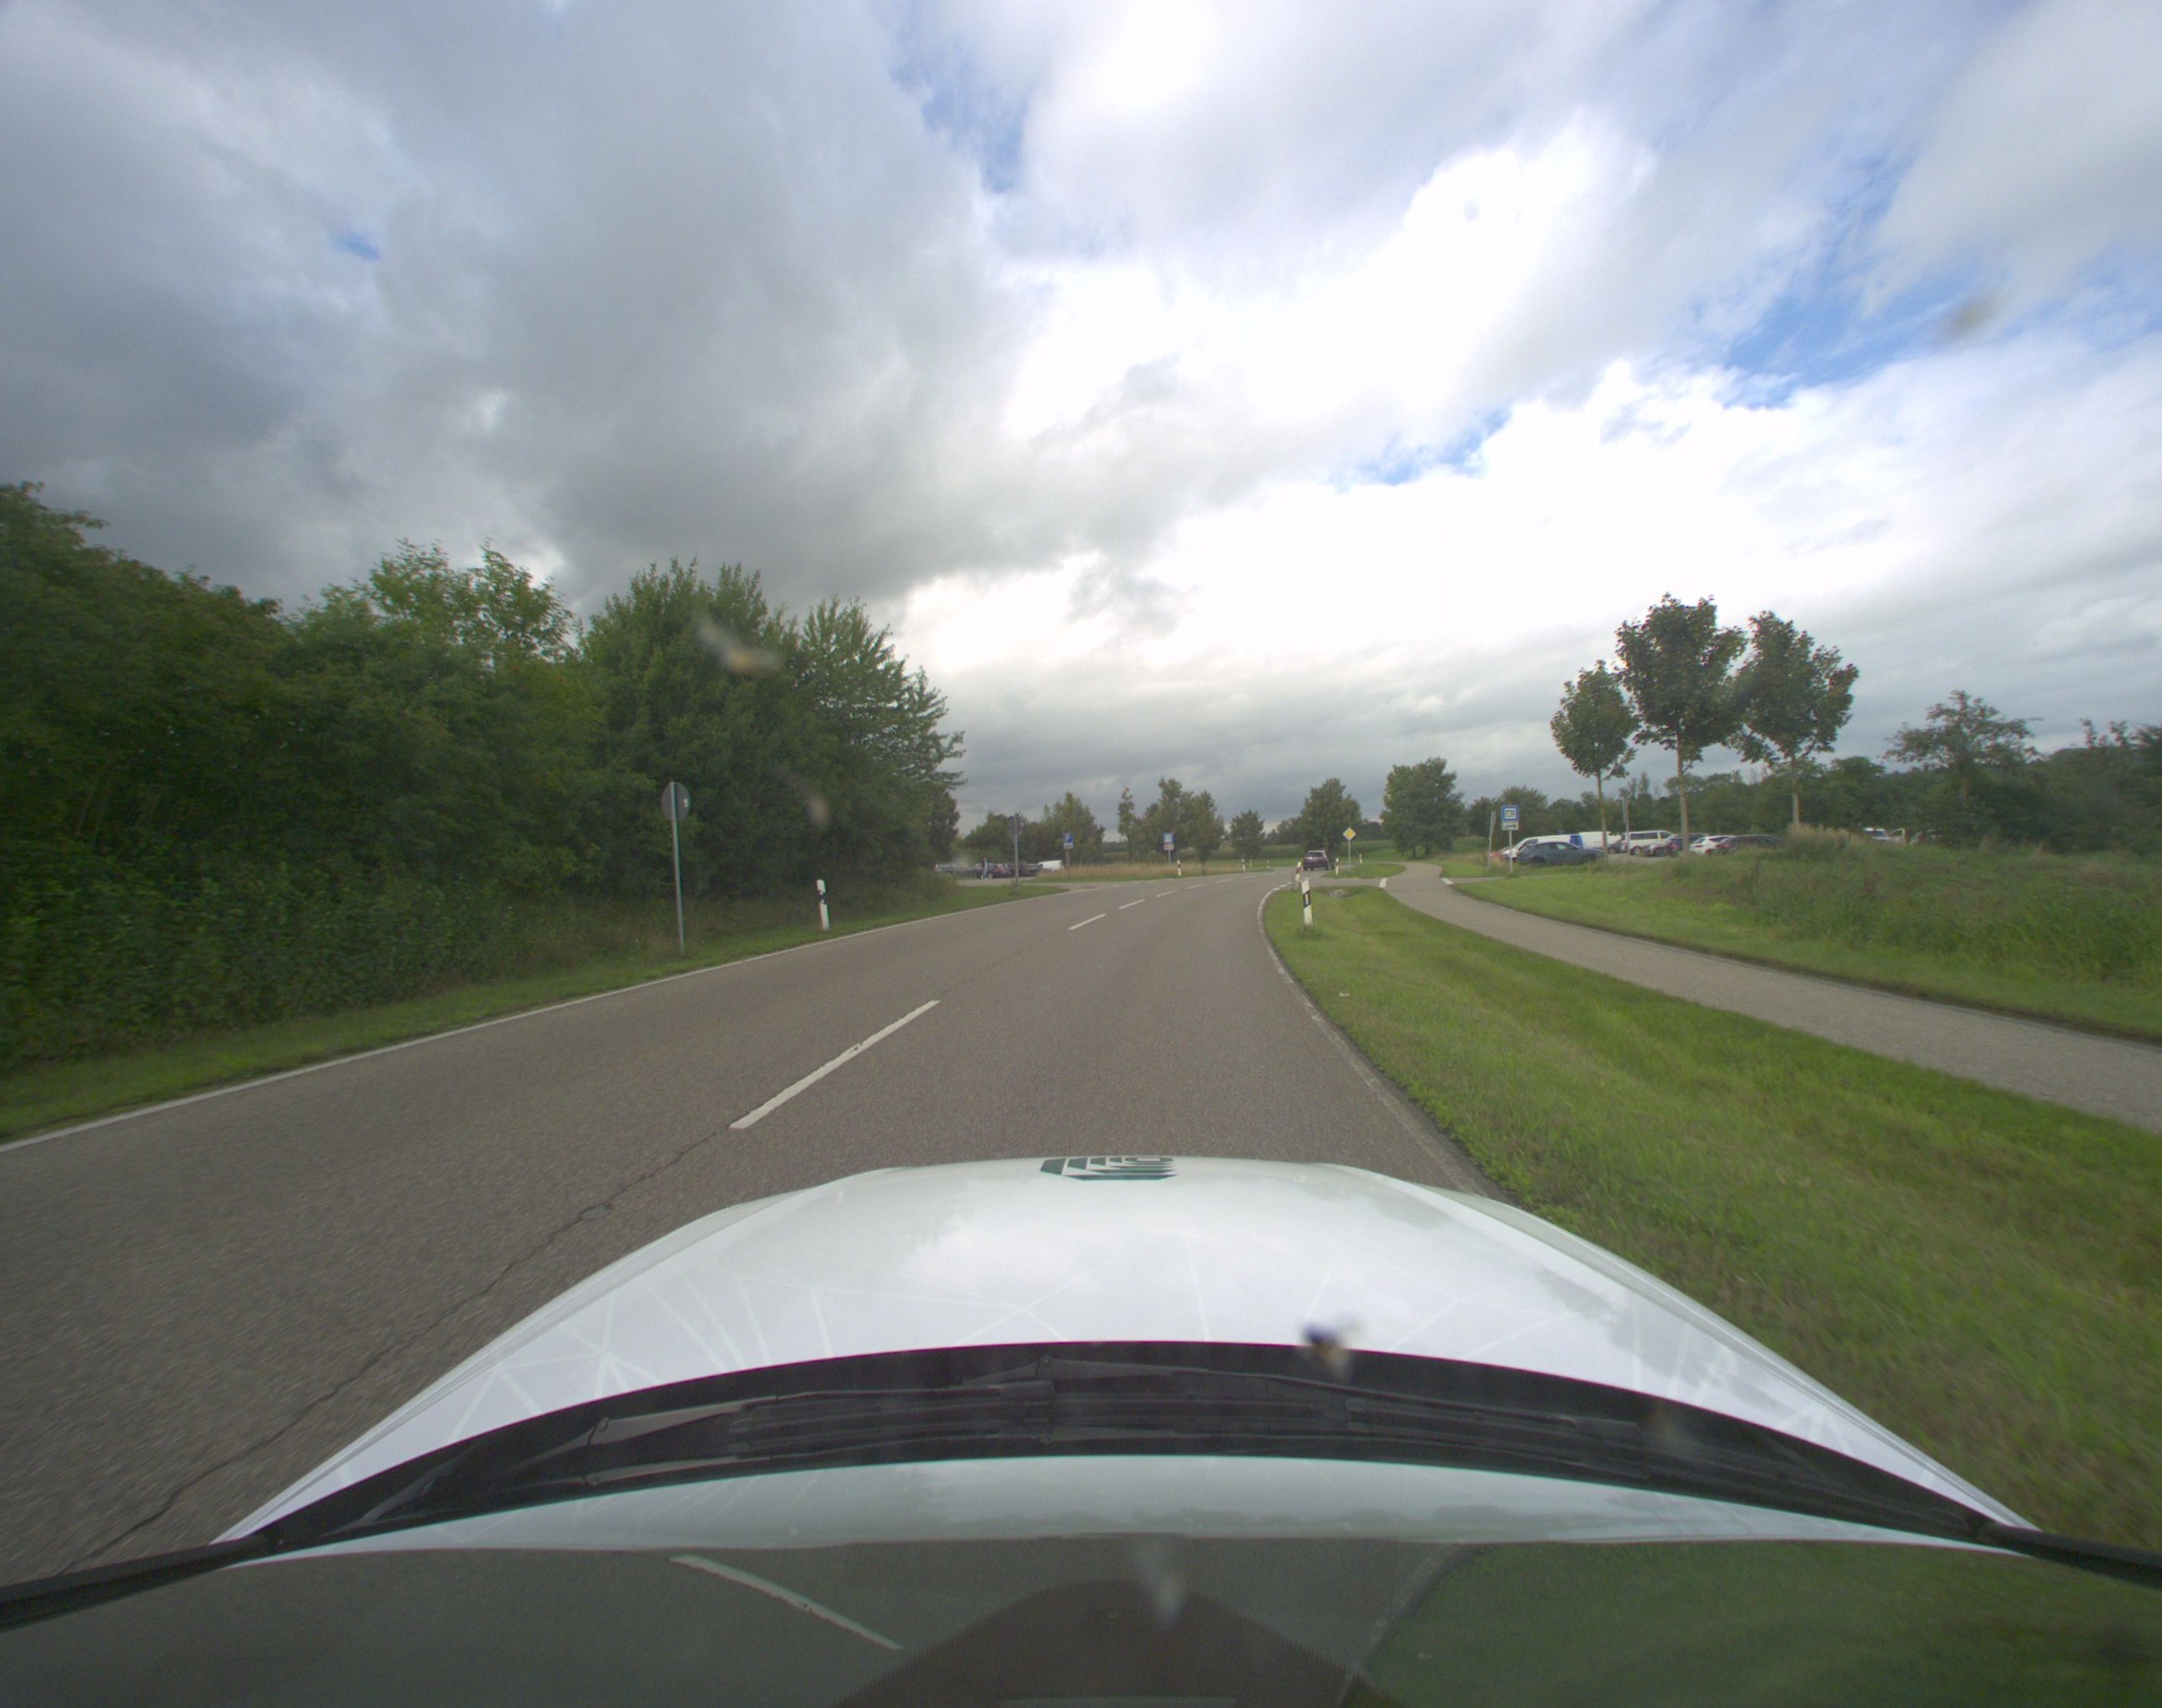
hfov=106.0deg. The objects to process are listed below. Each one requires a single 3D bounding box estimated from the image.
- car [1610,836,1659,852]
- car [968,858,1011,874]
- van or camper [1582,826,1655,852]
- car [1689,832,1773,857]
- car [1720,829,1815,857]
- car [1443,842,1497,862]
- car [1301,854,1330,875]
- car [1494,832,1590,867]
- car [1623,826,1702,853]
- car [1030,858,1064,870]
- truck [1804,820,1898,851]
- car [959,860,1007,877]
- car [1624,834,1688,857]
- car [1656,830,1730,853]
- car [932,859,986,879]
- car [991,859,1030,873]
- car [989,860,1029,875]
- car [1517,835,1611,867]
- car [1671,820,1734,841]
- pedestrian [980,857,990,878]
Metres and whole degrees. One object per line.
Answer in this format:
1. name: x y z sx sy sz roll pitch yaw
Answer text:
1. car: 53.196 -0.966 78.347 3.593 1.440 1.716 -2 0 24
2. car: -8.844 1.142 78.998 3.976 1.380 1.475 -2 0 -2
3. van or camper: 60.876 -1.670 92.370 6.681 2.562 2.061 -2 -1 25
4. car: 40.523 -0.559 50.836 3.659 1.391 1.767 -2 0 16
5. car: 38.307 -0.580 45.561 3.655 1.391 1.739 -2 0 21
6. car: 35.736 -0.166 74.985 4.292 1.575 1.981 -4 -1 21
7. car: 17.367 0.737 60.276 1.826 1.417 4.019 -2 0 18
8. car: 28.606 -0.240 50.693 4.903 1.974 1.965 -2 0 21
9. car: 49.217 -1.213 69.047 4.983 2.000 2.243 -4 -1 21
10. car: -4.121 1.231 99.193 3.968 1.380 1.478 -2 0 5
11. truck: 61.927 -1.420 65.701 3.103 2.218 6.417 -2 0 19
12. car: -9.114 1.335 75.934 3.961 1.380 1.829 -2 0 10
13. car: 44.424 -0.668 63.010 1.768 1.607 3.657 -2 0 -37
14. car: 41.774 -0.861 55.664 3.659 1.391 1.767 -2 0 16
15. car: -10.452 1.294 70.024 4.217 1.566 1.762 -2 0 7
16. car: -7.621 1.339 88.414 3.974 1.380 1.476 -2 0 0
17. car: -7.475 1.398 84.775 3.975 1.380 1.475 -2 0 -1
18. car: 27.134 -0.155 45.879 4.235 1.566 1.848 -4 -1 21
19. car: 55.391 -2.086 72.615 3.957 1.596 2.008 -2 0 15
20. pedestrian: -7.731 1.060 65.485 0.511 1.667 0.663 -2 -1 14
